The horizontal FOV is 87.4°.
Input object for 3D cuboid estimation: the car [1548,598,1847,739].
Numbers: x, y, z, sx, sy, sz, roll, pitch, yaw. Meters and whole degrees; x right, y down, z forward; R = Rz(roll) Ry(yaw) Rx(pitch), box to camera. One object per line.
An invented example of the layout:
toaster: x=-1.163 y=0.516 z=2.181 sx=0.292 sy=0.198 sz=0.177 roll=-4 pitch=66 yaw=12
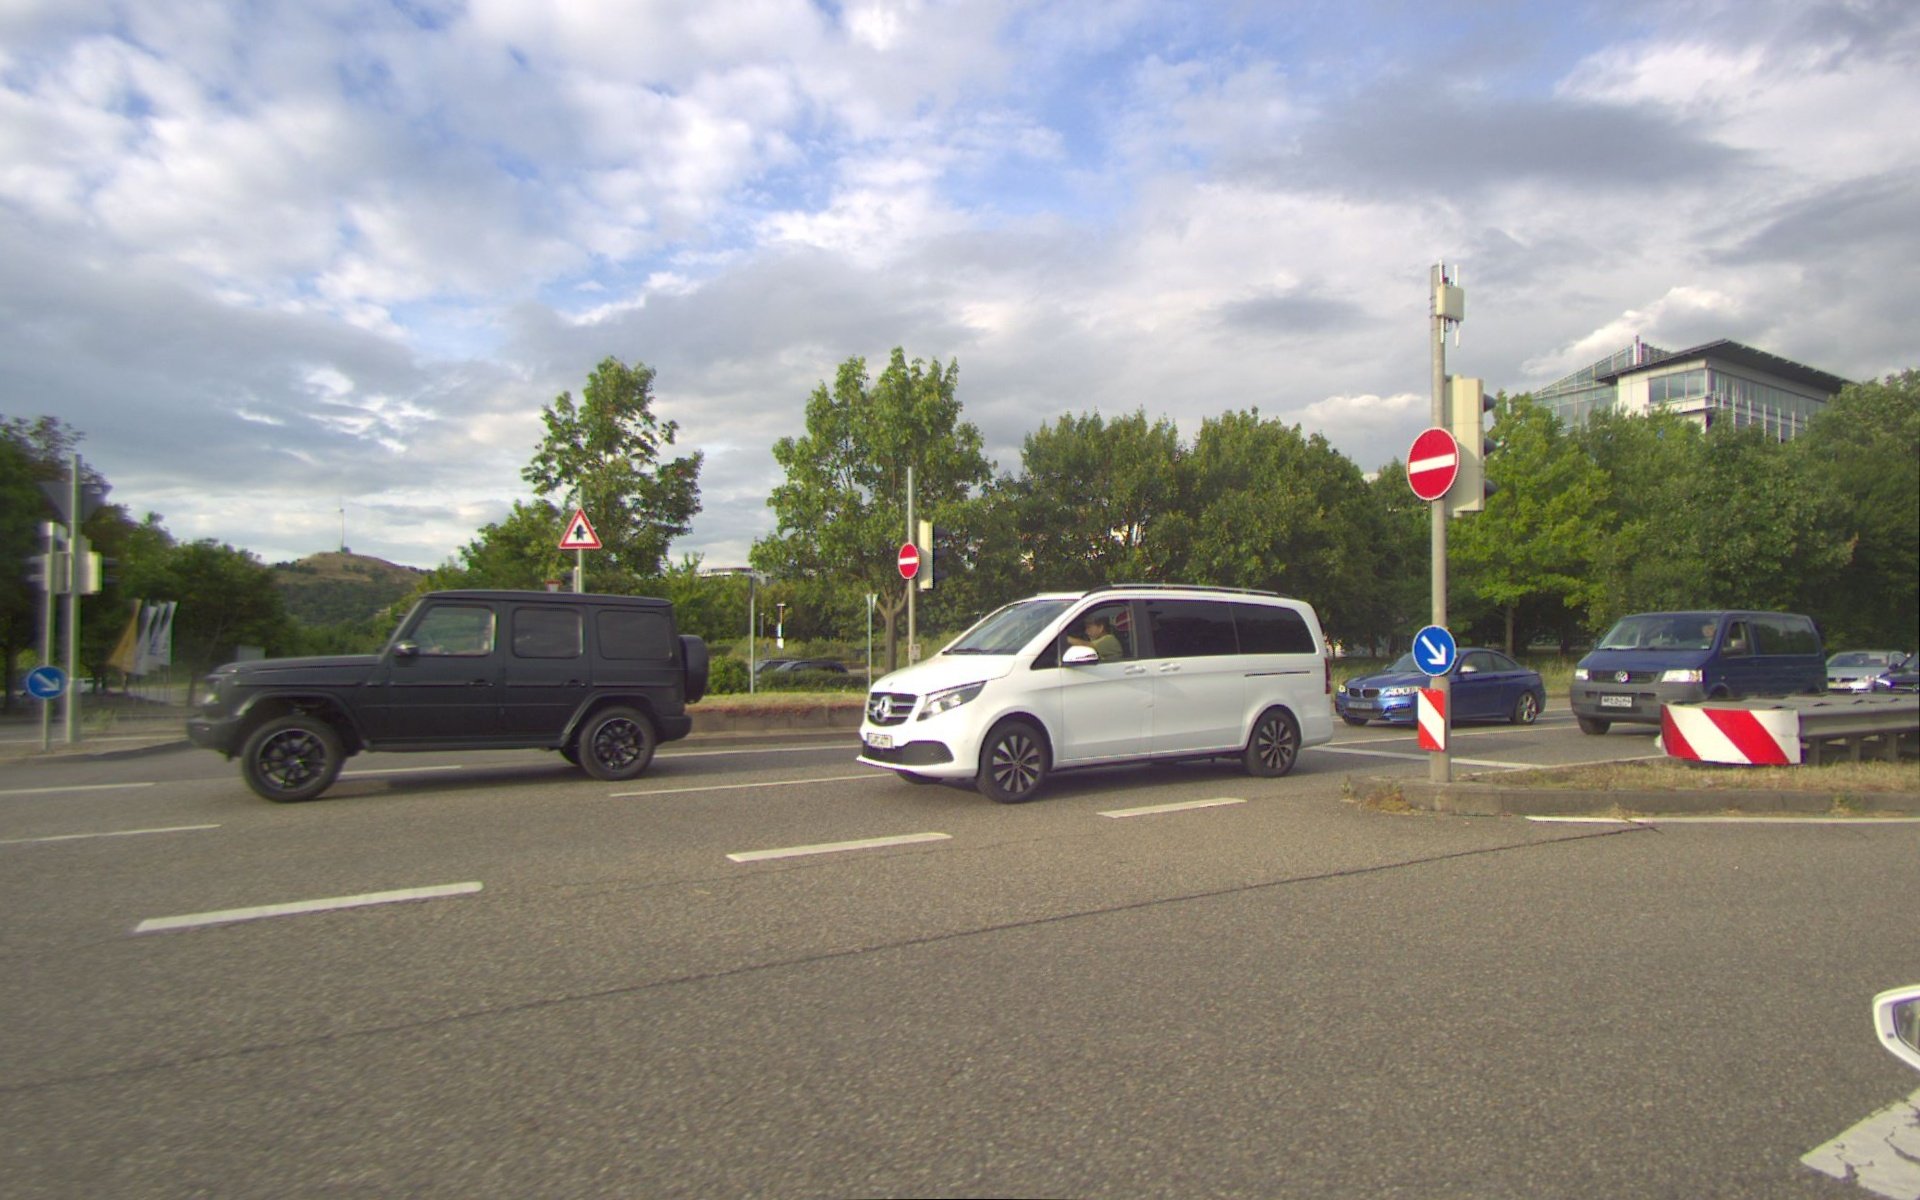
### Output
car: x=11.794 y=1.085 z=15.994 sx=4.990 sy=1.941 sz=1.891 roll=2 pitch=-5 yaw=-30

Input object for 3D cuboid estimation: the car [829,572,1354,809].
car: x=1.475 y=0.832 z=10.259 sx=5.286 sy=1.897 sz=1.925 roll=2 pitch=-3 yaw=-31

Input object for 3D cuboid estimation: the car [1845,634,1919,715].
car: x=20.773 y=1.549 z=21.308 sx=4.503 sy=1.609 sz=1.704 roll=2 pitch=-3 yaw=-31

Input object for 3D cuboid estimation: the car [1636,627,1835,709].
car: x=18.398 y=1.584 z=23.786 sx=4.788 sy=1.772 sz=2.025 roll=1 pitch=-4 yaw=-30

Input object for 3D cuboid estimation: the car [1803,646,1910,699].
car: x=24.963 y=1.980 z=27.948 sx=3.275 sy=1.371 sz=1.421 roll=2 pitch=-2 yaw=-33

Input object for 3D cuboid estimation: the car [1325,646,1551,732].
car: x=8.689 y=1.544 z=18.206 sx=4.135 sy=1.406 sz=1.641 roll=2 pitch=-3 yaw=-30

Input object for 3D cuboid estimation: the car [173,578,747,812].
car: x=-5.019 y=0.919 z=10.742 sx=5.030 sy=2.016 sz=1.926 roll=2 pitch=-3 yaw=-29
